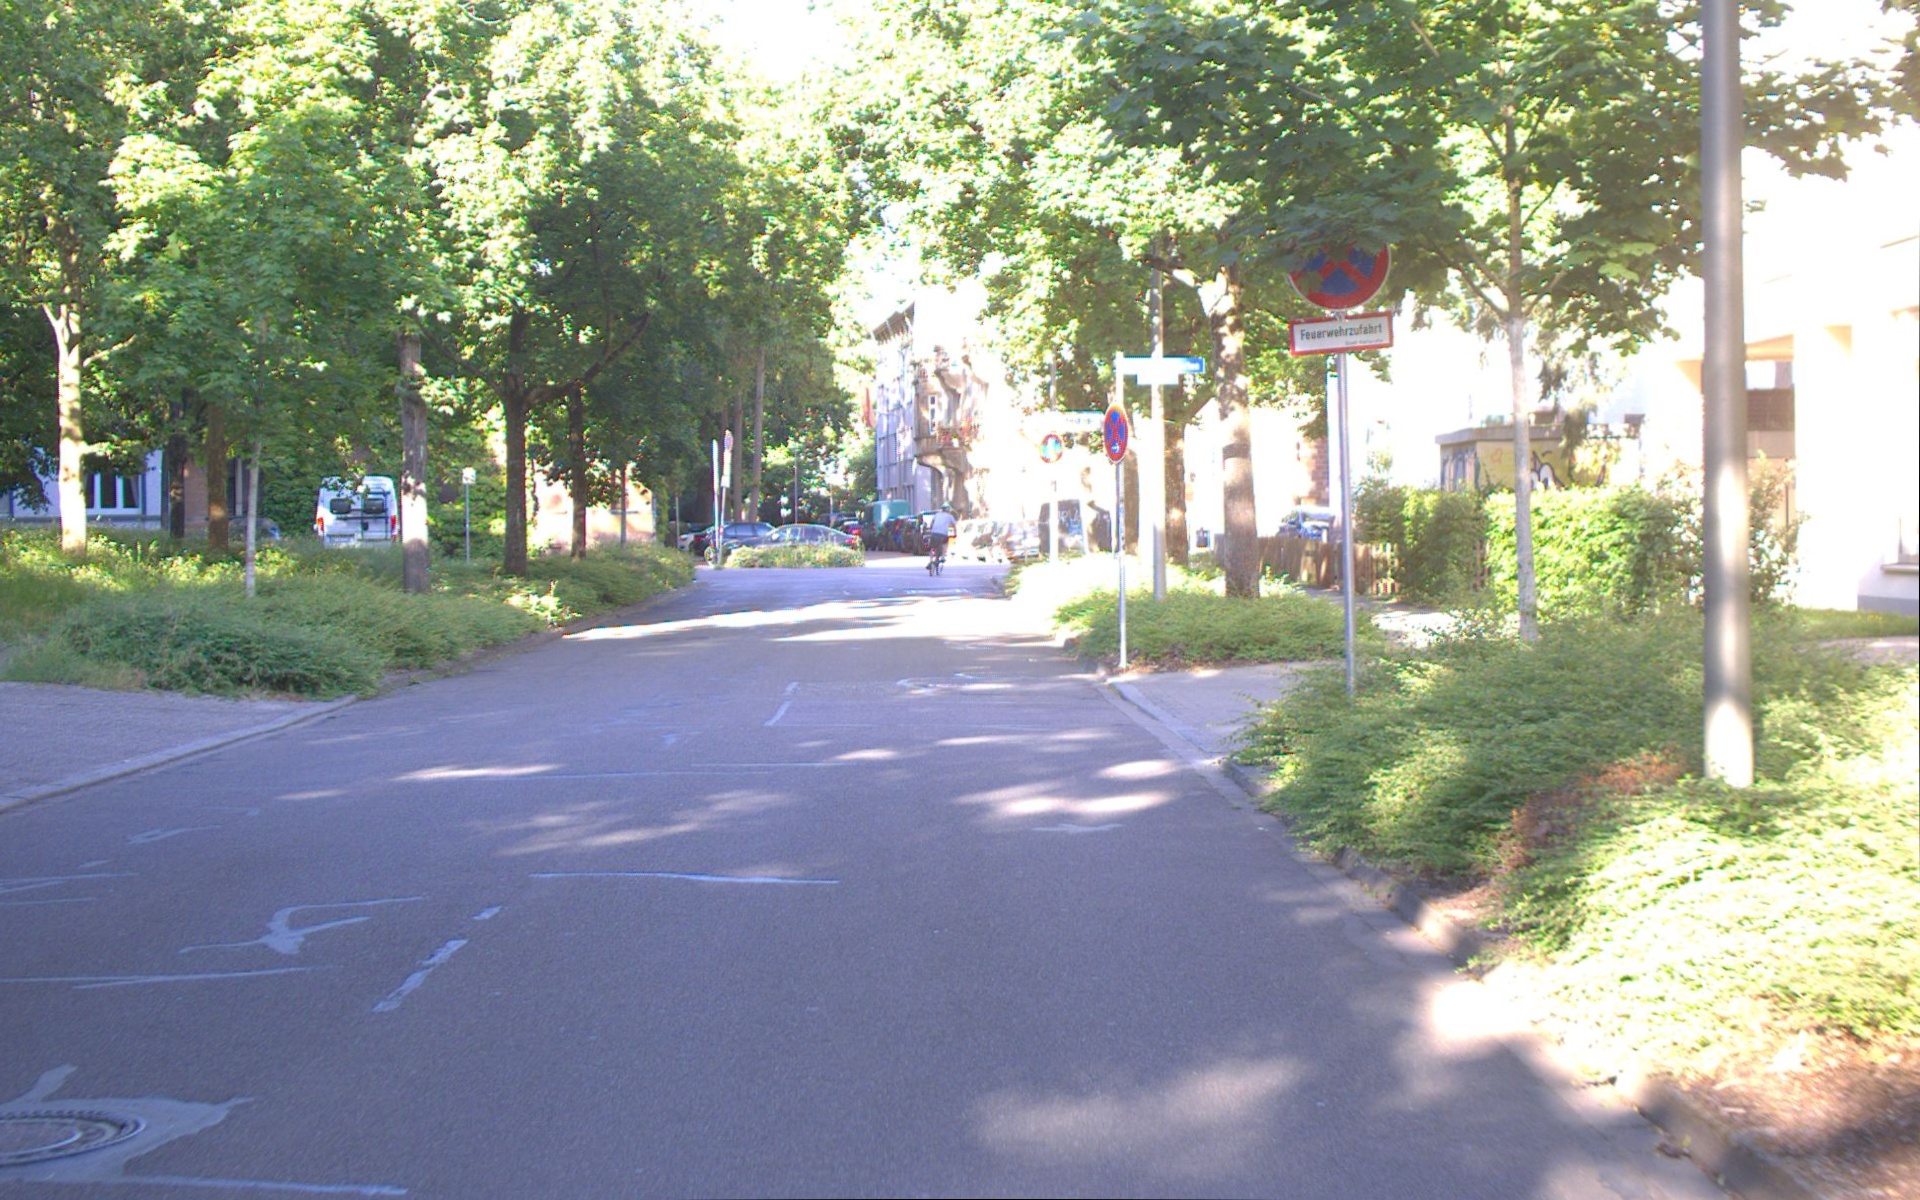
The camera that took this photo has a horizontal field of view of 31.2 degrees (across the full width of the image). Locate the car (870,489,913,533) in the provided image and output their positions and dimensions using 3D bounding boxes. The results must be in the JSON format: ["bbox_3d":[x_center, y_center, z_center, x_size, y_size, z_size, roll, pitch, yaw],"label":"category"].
[{"bbox_3d":[-3.316,-4.294,165.771,1.811,2.043,4.001,1,1,-4],"label":"car"}]

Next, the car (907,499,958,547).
[{"bbox_3d":[-1.142,-3.174,140.805,1.811,1.919,4.001,1,1,-4],"label":"car"}]

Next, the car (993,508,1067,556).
[{"bbox_3d":[2.266,-2.232,112.275,1.811,1.496,4.001,-1,2,-8],"label":"car"}]

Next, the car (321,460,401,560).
[{"bbox_3d":[-15.443,-2.317,88.743,1.993,2.499,4.001,0,1,-9],"label":"car"}]

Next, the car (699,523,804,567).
[{"bbox_3d":[-7.427,-1.958,122.457,3.586,1.505,1.500,0,1,-8],"label":"car"}]

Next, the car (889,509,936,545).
[{"bbox_3d":[-2.067,-3.166,149.054,1.811,1.496,4.001,1,2,-4],"label":"car"}]

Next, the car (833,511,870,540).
[{"bbox_3d":[-5.792,-3.953,182.751,1.811,1.496,4.001,1,2,-4],"label":"car"}]

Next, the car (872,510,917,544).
[{"bbox_3d":[-2.987,-3.315,155.587,1.811,1.496,4.001,1,2,-4],"label":"car"}]

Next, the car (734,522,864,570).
[{"bbox_3d":[-5.178,-1.732,110.028,3.986,1.496,1.818,0,1,-8],"label":"car"}]
